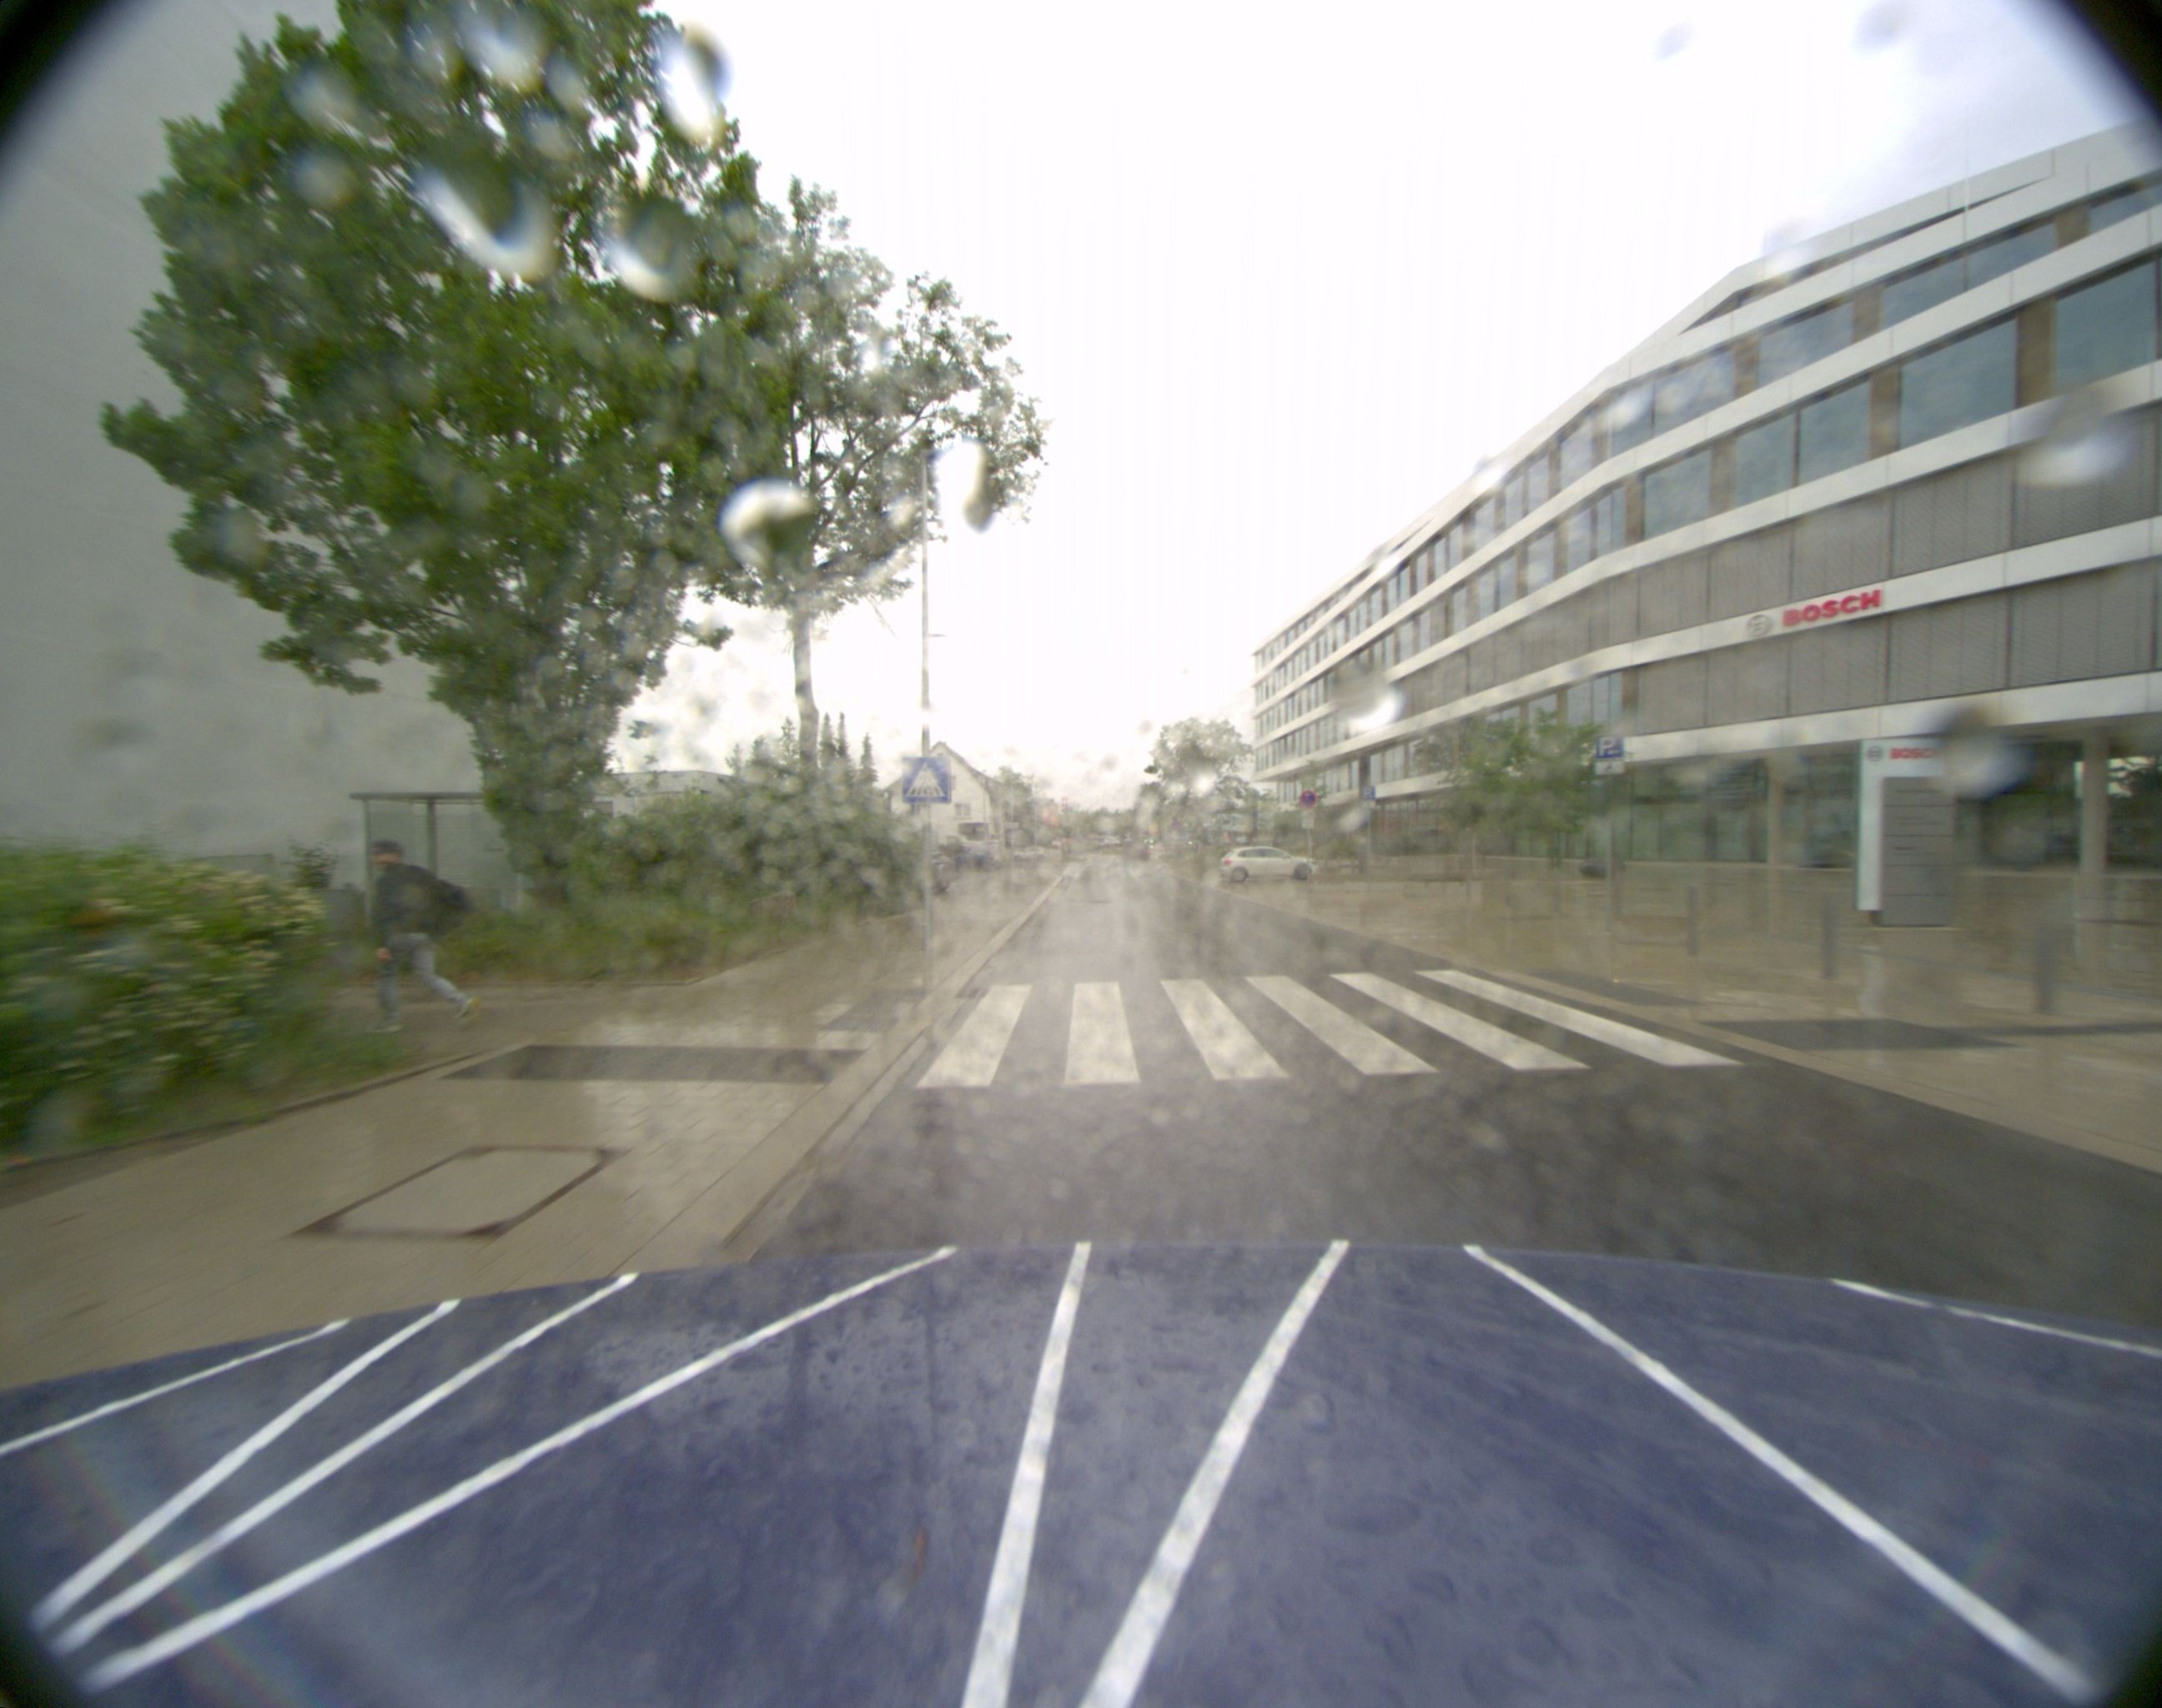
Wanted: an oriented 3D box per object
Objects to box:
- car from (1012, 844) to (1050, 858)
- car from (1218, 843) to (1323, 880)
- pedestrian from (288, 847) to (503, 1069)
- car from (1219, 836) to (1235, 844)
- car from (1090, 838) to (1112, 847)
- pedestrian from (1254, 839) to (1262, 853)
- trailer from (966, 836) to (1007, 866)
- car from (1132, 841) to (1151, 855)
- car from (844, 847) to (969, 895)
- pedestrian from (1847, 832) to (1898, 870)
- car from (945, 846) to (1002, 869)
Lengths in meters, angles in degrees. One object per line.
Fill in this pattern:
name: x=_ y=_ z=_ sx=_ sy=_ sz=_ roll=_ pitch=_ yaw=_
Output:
car: x=-5.897 y=-0.359 z=89.814 sx=4.144 sy=1.571 sz=1.997 roll=1 pitch=1 yaw=-13
car: x=7.879 y=0.295 z=31.787 sx=3.937 sy=1.415 sz=1.898 roll=-1 pitch=1 yaw=2
pedestrian: x=-5.671 y=0.814 z=6.350 sx=1.016 sy=1.714 sz=0.772 roll=-1 pitch=1 yaw=-2
car: x=26.711 y=-2.552 z=138.653 sx=1.883 sy=1.288 sz=4.006 roll=-3 pitch=0 yaw=25
car: x=4.127 y=-2.390 z=158.222 sx=4.095 sy=1.696 sz=2.003 roll=-1 pitch=1 yaw=29
pedestrian: x=22.446 y=-0.997 z=96.129 sx=0.726 sy=1.694 sz=0.956 roll=-4 pitch=3 yaw=4
trailer: x=-6.934 y=-0.208 z=55.726 sx=2.708 sy=2.159 sz=1.548 roll=-1 pitch=1 yaw=3
car: x=7.764 y=-0.788 z=97.980 sx=2.008 sy=1.807 sz=4.978 roll=-1 pitch=1 yaw=-1
car: x=-6.688 y=0.616 z=29.344 sx=4.214 sy=1.640 sz=2.001 roll=1 pitch=1 yaw=11
pedestrian: x=29.441 y=-0.105 z=28.263 sx=0.899 sy=1.307 sz=1.059 roll=-6 pitch=3 yaw=-26
car: x=-7.502 y=0.223 z=53.291 sx=3.735 sy=1.520 sz=1.649 roll=0 pitch=2 yaw=1
